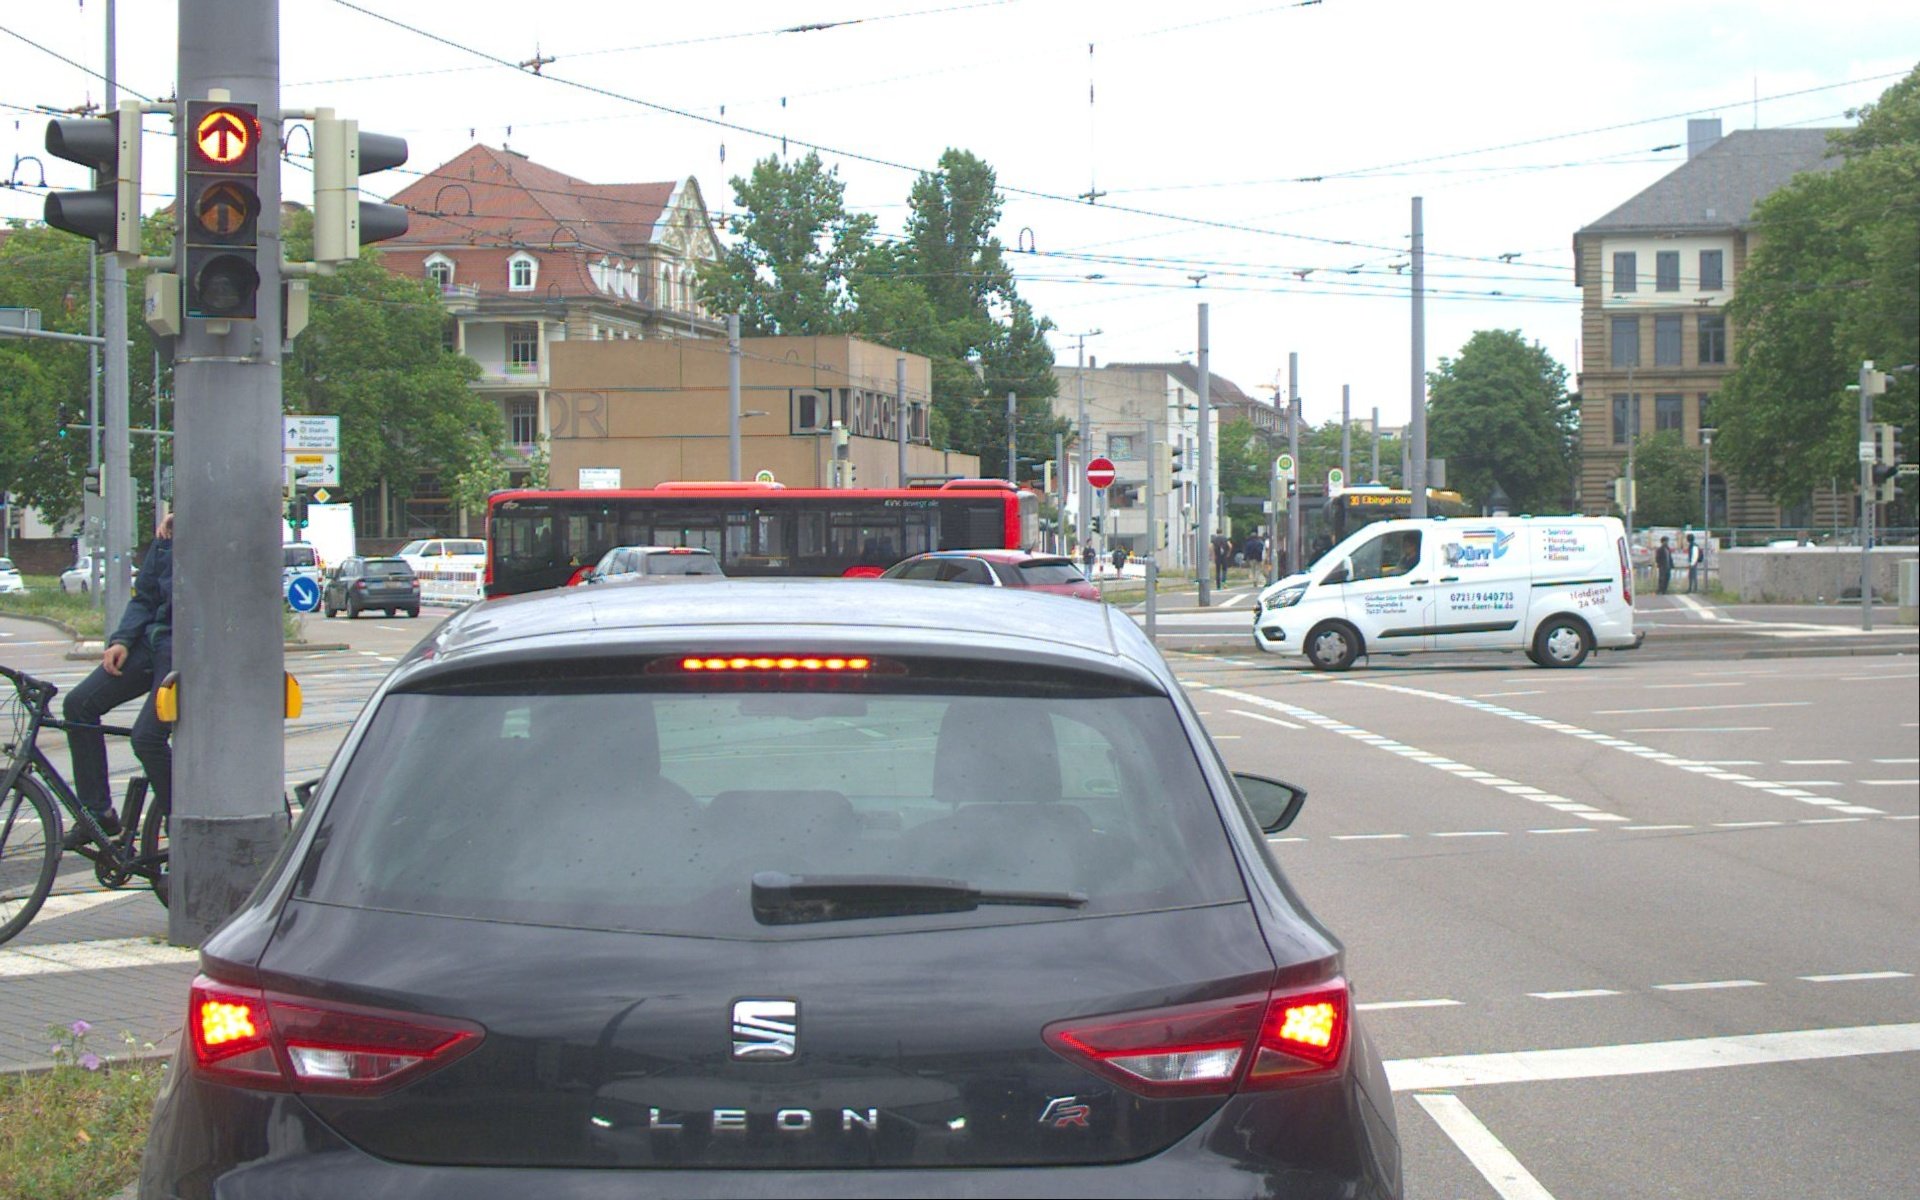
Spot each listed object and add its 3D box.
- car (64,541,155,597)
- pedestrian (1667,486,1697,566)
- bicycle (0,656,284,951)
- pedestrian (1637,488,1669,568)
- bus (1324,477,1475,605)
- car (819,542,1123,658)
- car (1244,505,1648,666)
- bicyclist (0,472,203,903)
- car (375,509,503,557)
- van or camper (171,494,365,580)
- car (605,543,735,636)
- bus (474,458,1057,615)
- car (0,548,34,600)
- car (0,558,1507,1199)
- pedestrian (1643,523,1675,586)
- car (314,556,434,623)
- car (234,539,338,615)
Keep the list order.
[{"bbox_3d":[-27.318,-0.998,110.350,1.993,1.744,4.001,-1,1,-26],"label":"car"},{"bbox_3d":[38.312,-3.932,182.502,1.307,4.239,1.347,0,1,0],"label":"pedestrian"},{"bbox_3d":[-3.481,0.777,13.360,1.609,1.066,0.528,-1,1,-40],"label":"bicycle"},{"bbox_3d":[36.801,-3.819,182.628,1.387,4.239,1.347,0,1,0],"label":"pedestrian"},{"bbox_3d":[12.176,-1.619,94.277,3.018,3.256,13.036,0,1,12],"label":"bus"},{"bbox_3d":[0.129,-0.024,49.445,4.201,1.595,1.859,0,1,42],"label":"car"},{"bbox_3d":[6.298,-0.203,44.978,5.015,2.012,2.000,0,1,1],"label":"car"},{"bbox_3d":[-3.388,0.324,13.435,0.653,1.633,0.517,-1,1,-40],"label":"bicyclist"},{"bbox_3d":[-21.789,-2.799,144.002,4.991,1.858,1.999,-2,-2,-44],"label":"car"},{"bbox_3d":[-27.794,-2.546,138.298,7.134,3.321,2.875,-2,0,-45],"label":"van or camper"},{"bbox_3d":[-5.172,-0.215,60.859,1.993,1.560,4.206,-1,1,-9],"label":"car"},{"bbox_3d":[-4.217,-1.357,75.221,12.343,3.286,3.067,0,1,10],"label":"bus"},{"bbox_3d":[-31.287,-0.859,110.881,1.993,1.634,4.001,-1,1,-26],"label":"car"},{"bbox_3d":[-0.270,0.673,5.964,1.746,1.459,4.000,0,1,-1],"label":"car"},{"bbox_3d":[20.677,-1.341,101.694,0.824,1.847,1.020,0,1,16],"label":"pedestrian"},{"bbox_3d":[-14.002,-0.273,81.991,1.993,1.534,4.001,-1,1,-22],"label":"car"},{"bbox_3d":[-18.312,-0.652,93.300,1.993,2.007,4.001,-1,1,-22],"label":"car"}]
